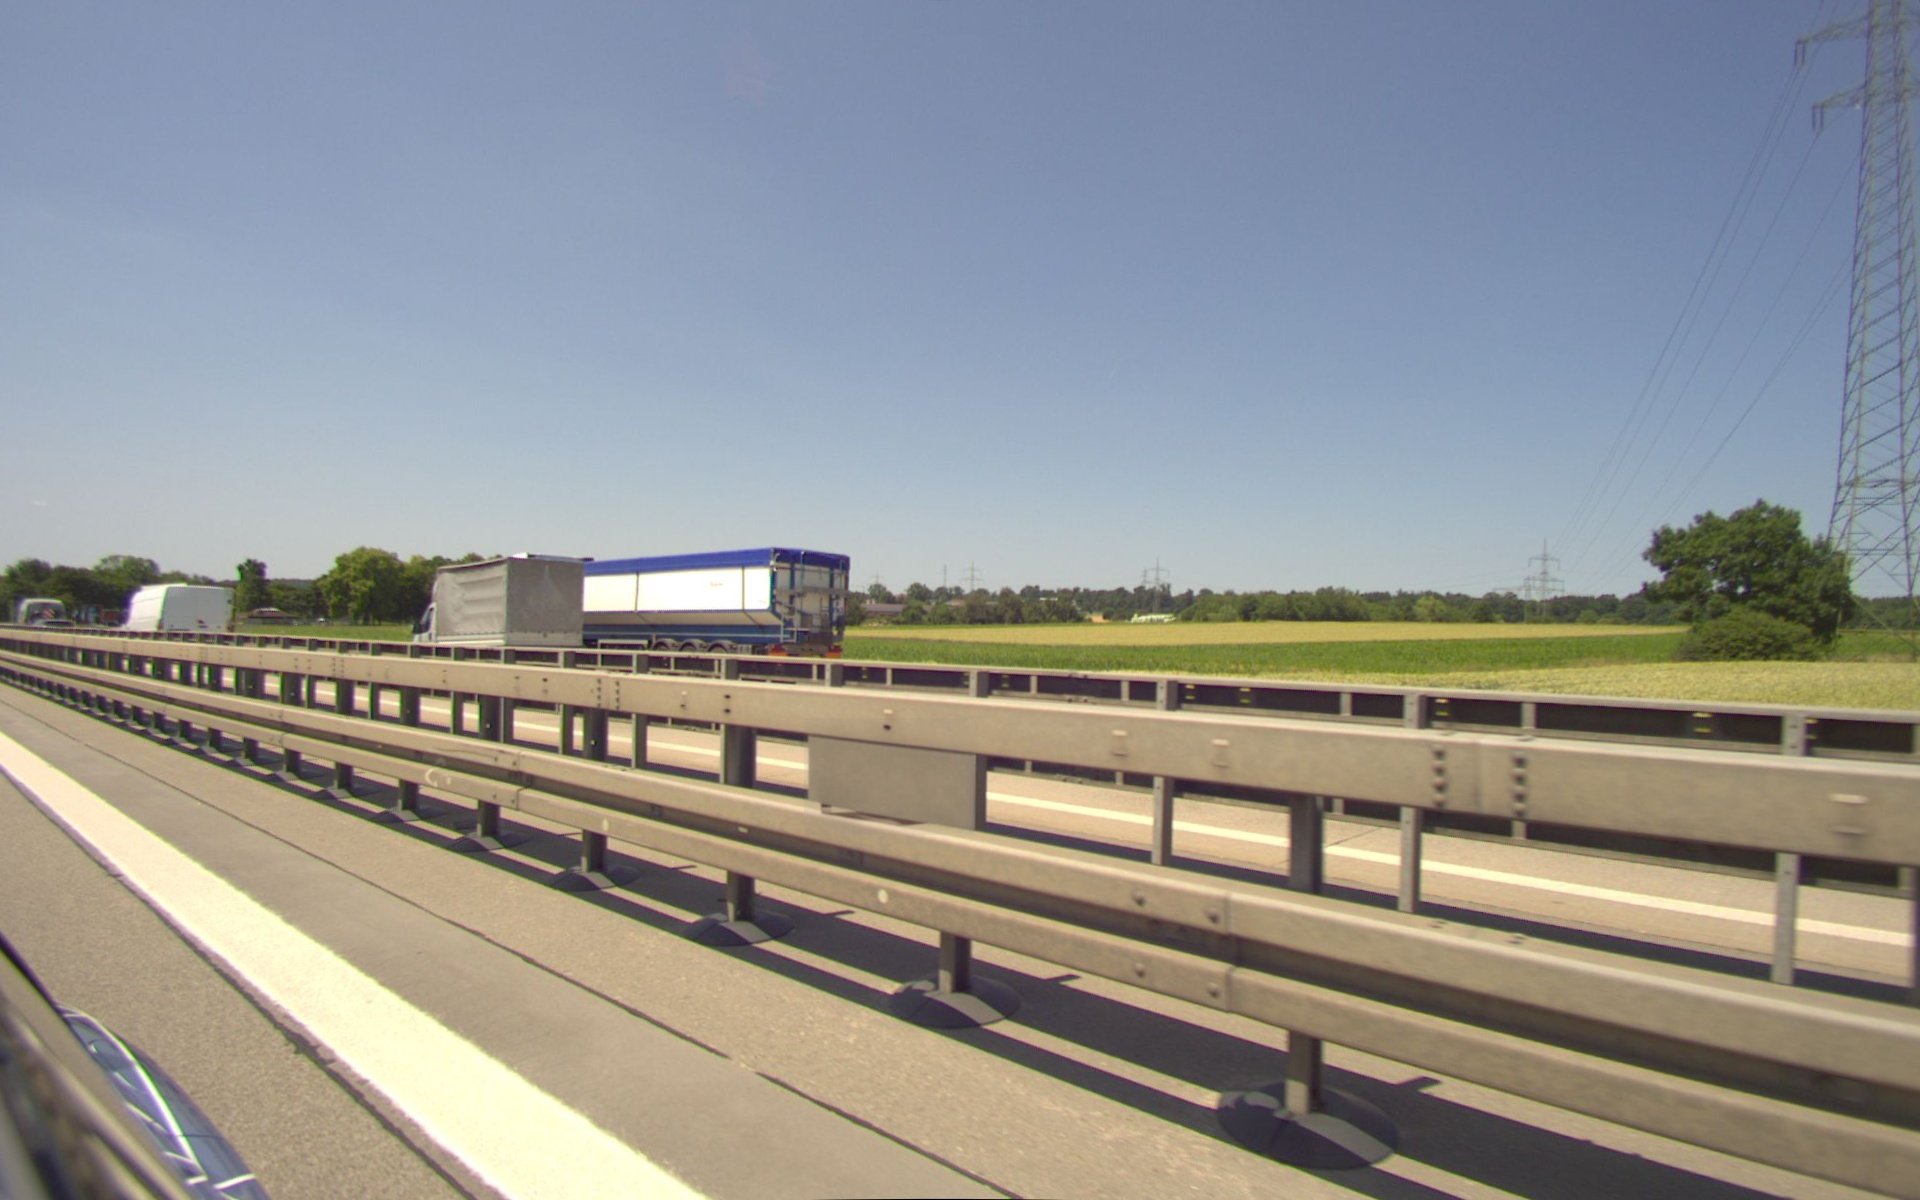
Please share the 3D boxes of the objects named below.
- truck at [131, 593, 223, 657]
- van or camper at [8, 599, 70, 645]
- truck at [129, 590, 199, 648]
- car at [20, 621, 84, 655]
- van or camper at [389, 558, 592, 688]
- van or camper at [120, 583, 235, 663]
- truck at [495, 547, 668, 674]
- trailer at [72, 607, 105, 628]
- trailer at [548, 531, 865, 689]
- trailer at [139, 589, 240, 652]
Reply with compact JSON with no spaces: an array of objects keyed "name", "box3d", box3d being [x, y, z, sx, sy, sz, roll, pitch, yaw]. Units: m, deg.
[{"name":"truck","box3d":[-39.878,1.285,51.446,7.425,3.032,2.225,-1,-3,42]},{"name":"van or camper","box3d":[-58.906,1.378,64.683,7.292,2.755,2.135,-1,0,42]},{"name":"truck","box3d":[-57.556,1.339,73.139,6.475,3.960,2.908,-1,0,42]},{"name":"car","box3d":[-47.349,1.947,52.727,4.932,1.431,1.750,-1,-10,42]},{"name":"van or camper","box3d":[-13.226,0.655,28.176,7.398,3.189,2.315,-1,-3,42]},{"name":"van or camper","box3d":[-27.604,0.748,35.592,6.119,2.594,2.100,-1,0,42]},{"name":"truck","box3d":[-12.322,0.313,32.711,6.053,3.718,2.690,-1,0,41]},{"name":"trailer","box3d":[-168.793,3.345,195.903,14.403,3.807,2.739,-1,0,41]},{"name":"trailer","box3d":[-7.587,0.274,28.590,11.353,3.720,2.679,-1,0,41]},{"name":"trailer","box3d":[-52.323,1.328,68.518,12.888,3.947,2.927,-1,0,41]}]
